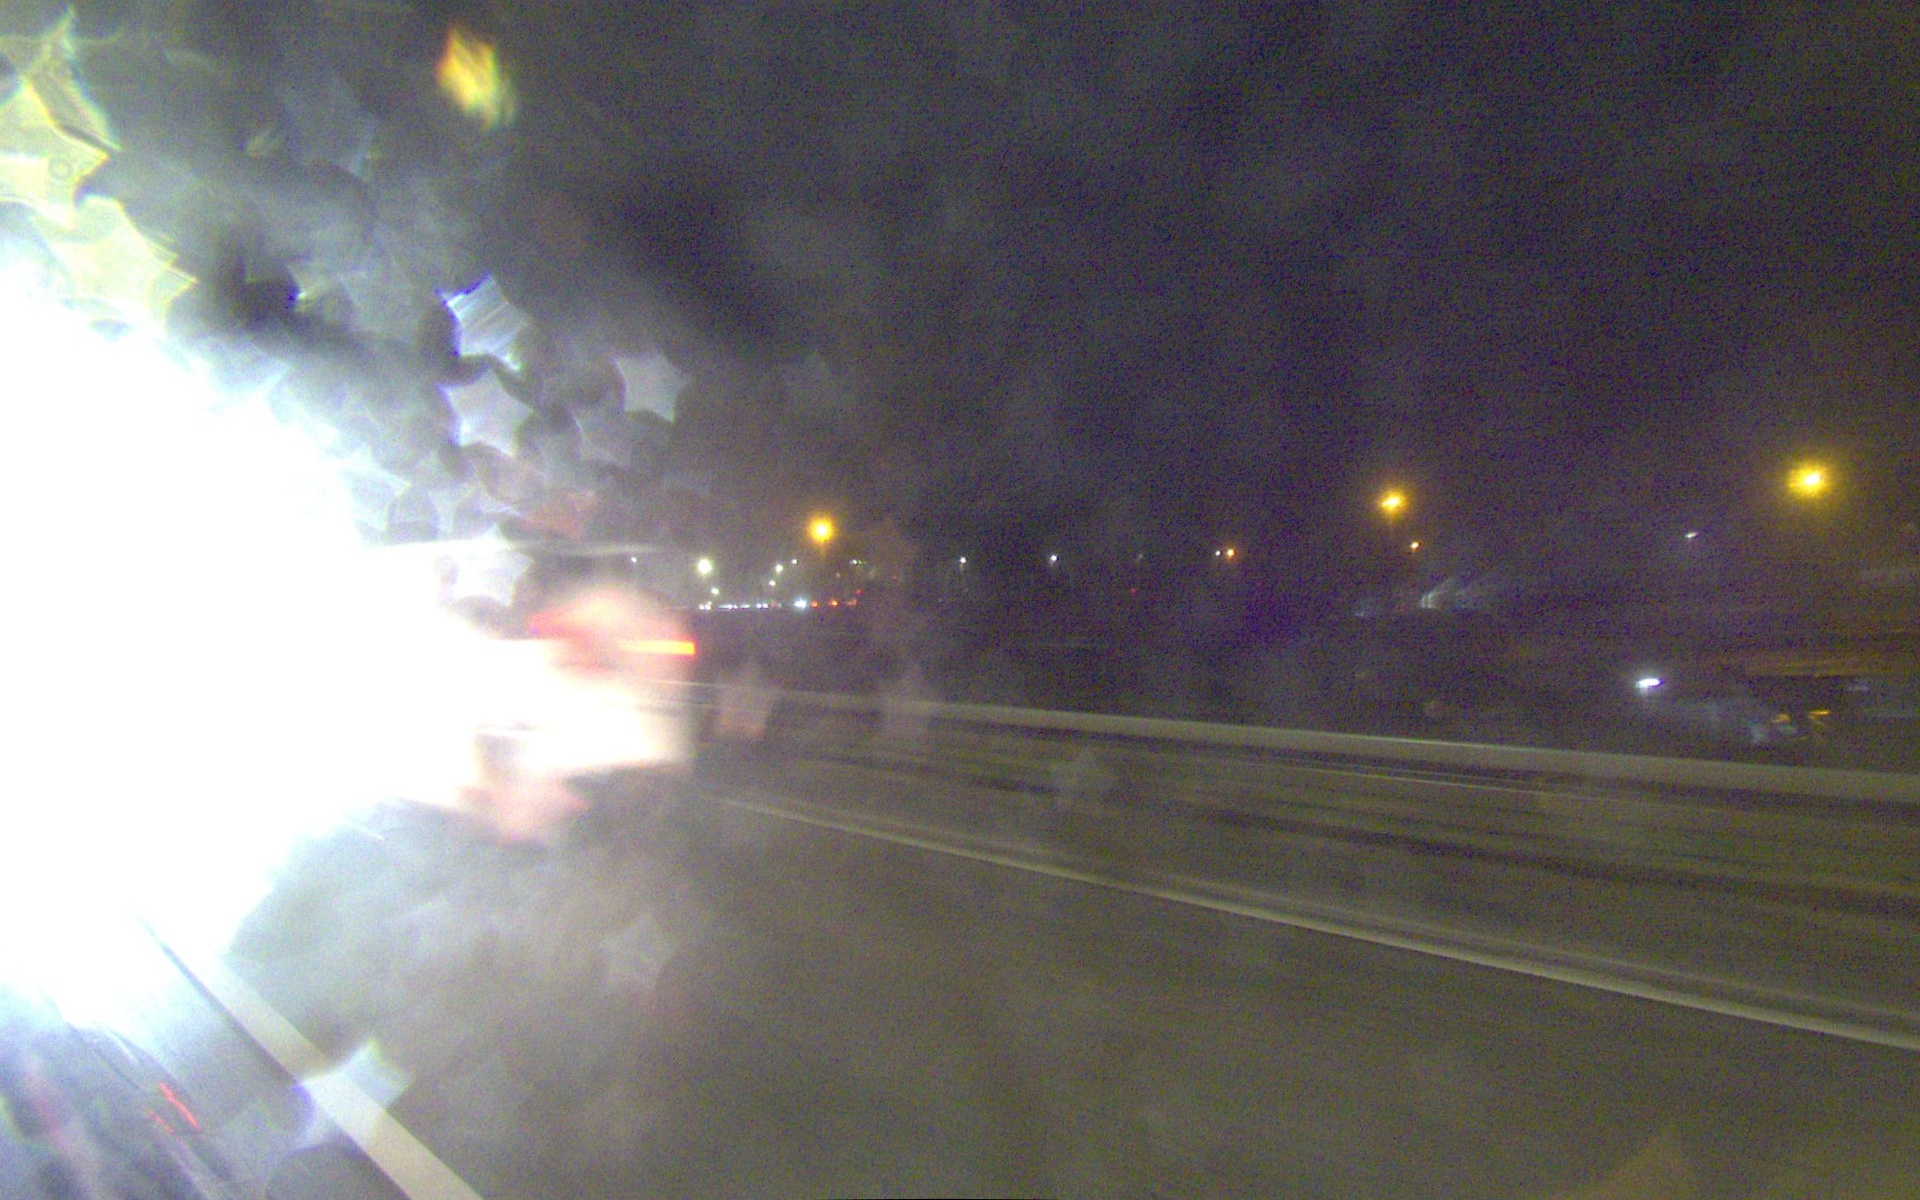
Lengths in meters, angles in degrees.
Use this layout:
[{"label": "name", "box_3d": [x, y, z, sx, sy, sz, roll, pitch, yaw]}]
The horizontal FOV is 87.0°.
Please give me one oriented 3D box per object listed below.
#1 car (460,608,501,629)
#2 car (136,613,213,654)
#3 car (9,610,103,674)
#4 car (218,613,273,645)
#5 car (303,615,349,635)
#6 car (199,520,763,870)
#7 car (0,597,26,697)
[{"label": "car", "box_3d": [-50.822, 1.954, 107.307, 2.347, 2.107, 4.418, -1, -1, -1]}, {"label": "car", "box_3d": [-39.237, 1.651, 50.661, 1.965, 1.949, 4.013, -1, -1, -21]}, {"label": "car", "box_3d": [-29.624, 1.344, 33.283, 1.967, 1.949, 4.008, -1, -1, -37]}, {"label": "car", "box_3d": [-45.185, 1.831, 64.069, 1.965, 1.949, 4.013, -1, -1, -22]}, {"label": "car", "box_3d": [-50.198, 1.965, 80.229, 1.966, 1.495, 4.011, -1, -1, -15]}, {"label": "car", "box_3d": [-4.323, 0.590, 8.554, 5.493, 2.003, 2.423, -2, -1, 43]}, {"label": "car", "box_3d": [-20.082, 0.945, 20.081, 1.906, 1.887, 4.008, -1, -1, -38]}]
